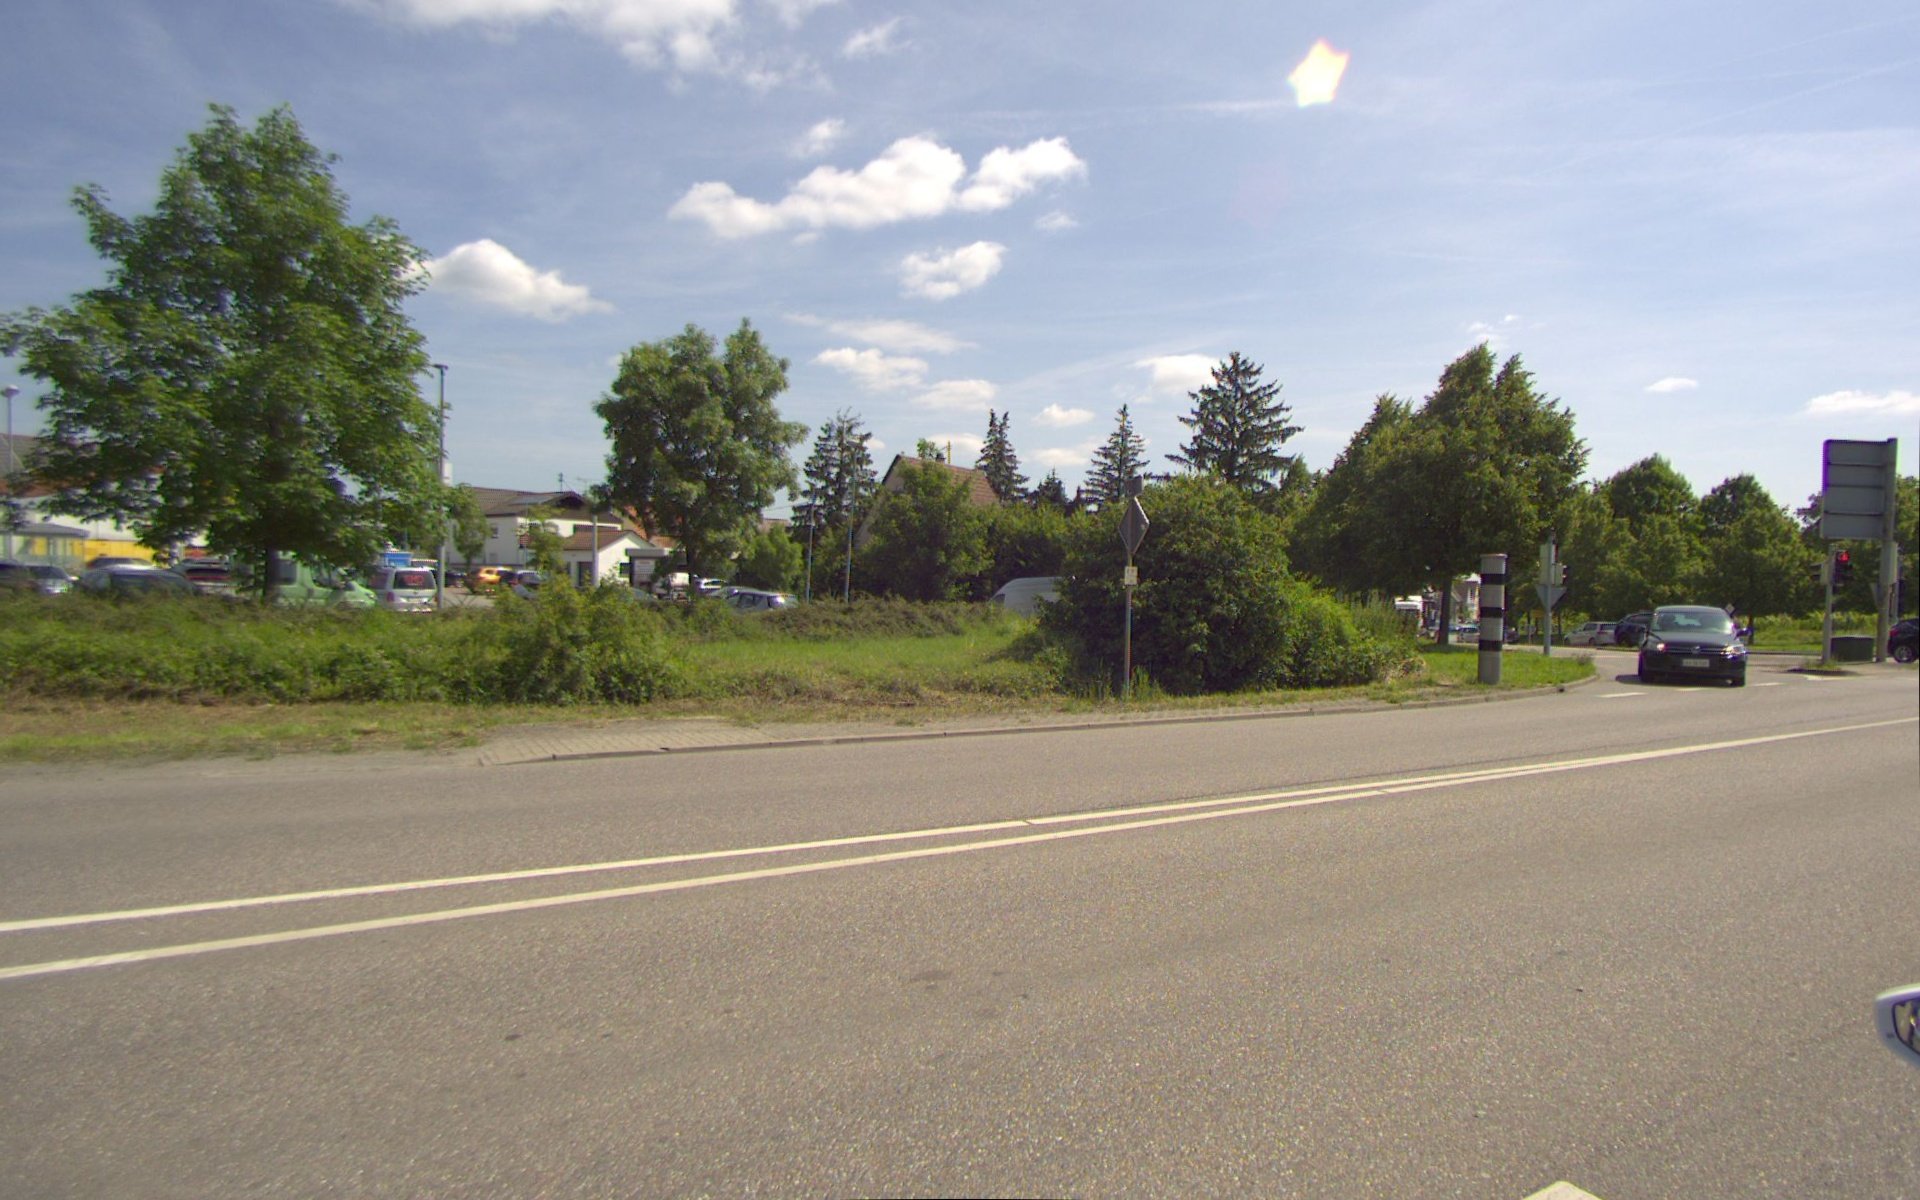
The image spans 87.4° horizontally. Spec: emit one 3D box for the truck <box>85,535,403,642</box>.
[{"bbox_3d":[-18.174,-0.228,25.879,2.214,2.407,6.322,1,0,39],"label":"truck"}]

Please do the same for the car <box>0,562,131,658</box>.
[{"bbox_3d":[-17.559,0.155,19.467,3.941,1.679,1.686,2,0,42],"label":"car"}]

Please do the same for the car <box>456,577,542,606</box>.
[{"bbox_3d":[-27.128,-0.496,59.236,1.849,1.562,4.243,2,0,37],"label":"car"}]

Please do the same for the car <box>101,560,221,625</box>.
[{"bbox_3d":[-22.849,-0.217,28.689,3.939,1.711,1.918,2,0,40],"label":"car"}]

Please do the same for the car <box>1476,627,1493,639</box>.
[{"bbox_3d":[72.463,4.568,138.734,1.964,1.448,3.993,2,0,29],"label":"car"}]

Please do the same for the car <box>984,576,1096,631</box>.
[{"bbox_3d":[3.473,0.124,44.113,4.524,2.209,1.992,2,1,37],"label":"car"}]

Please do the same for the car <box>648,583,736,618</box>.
[{"bbox_3d":[-13.584,0.053,51.028,1.883,1.662,3.984,2,0,38],"label":"car"}]

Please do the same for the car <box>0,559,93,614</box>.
[{"bbox_3d":[-28.227,-0.432,30.752,3.936,1.549,1.772,2,0,37],"label":"car"}]

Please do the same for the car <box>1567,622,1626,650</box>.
[{"bbox_3d":[36.920,2.066,58.362,1.506,1.511,4.011,2,0,11],"label":"car"}]

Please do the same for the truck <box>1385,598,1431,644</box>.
[{"bbox_3d":[40.101,1.903,89.800,2.894,3.848,7.913,2,0,30],"label":"truck"}]

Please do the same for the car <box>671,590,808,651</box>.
[{"bbox_3d":[-7.082,0.631,32.205,3.928,1.751,1.997,2,0,29],"label":"car"}]

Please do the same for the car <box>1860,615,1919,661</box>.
[{"bbox_3d":[29.135,1.162,29.108,1.713,1.322,4.266,2,0,-16],"label":"car"}]

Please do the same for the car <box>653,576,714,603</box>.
[{"bbox_3d":[-20.175,-0.734,73.422,1.866,1.782,3.988,2,0,35],"label":"car"}]

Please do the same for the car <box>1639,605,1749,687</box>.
[{"bbox_3d":[16.067,0.927,22.149,1.779,1.619,4.256,0,0,34],"label":"car"}]

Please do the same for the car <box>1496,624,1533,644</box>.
[{"bbox_3d":[40.627,2.477,73.722,1.707,1.322,4.281,1,0,20],"label":"car"}]

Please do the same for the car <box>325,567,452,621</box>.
[{"bbox_3d":[-19.318,-0.221,33.898,4.353,1.717,1.994,1,0,34],"label":"car"}]

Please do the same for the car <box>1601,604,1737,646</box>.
[{"bbox_3d":[27.229,0.930,38.770,1.711,1.448,4.272,2,0,-11],"label":"car"}]

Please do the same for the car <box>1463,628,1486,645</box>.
[{"bbox_3d":[44.812,3.161,87.477,1.645,1.375,3.857,2,0,26],"label":"car"}]

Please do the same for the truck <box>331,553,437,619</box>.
[{"bbox_3d":[-22.341,-0.541,38.927,3.932,2.397,1.994,2,0,34],"label":"truck"}]

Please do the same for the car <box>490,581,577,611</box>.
[{"bbox_3d":[-24.550,-0.207,57.981,1.849,1.562,4.243,2,0,37],"label":"car"}]

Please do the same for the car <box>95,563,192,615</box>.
[{"bbox_3d":[-26.512,-0.359,32.566,3.941,1.549,1.770,2,0,41],"label":"car"}]

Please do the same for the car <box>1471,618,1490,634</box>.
[{"bbox_3d":[61.294,3.067,118.278,1.728,1.773,3.993,2,0,29],"label":"car"}]

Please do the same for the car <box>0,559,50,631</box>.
[{"bbox_3d":[-24.806,-0.183,25.569,3.939,1.697,1.903,3,1,40],"label":"car"}]
